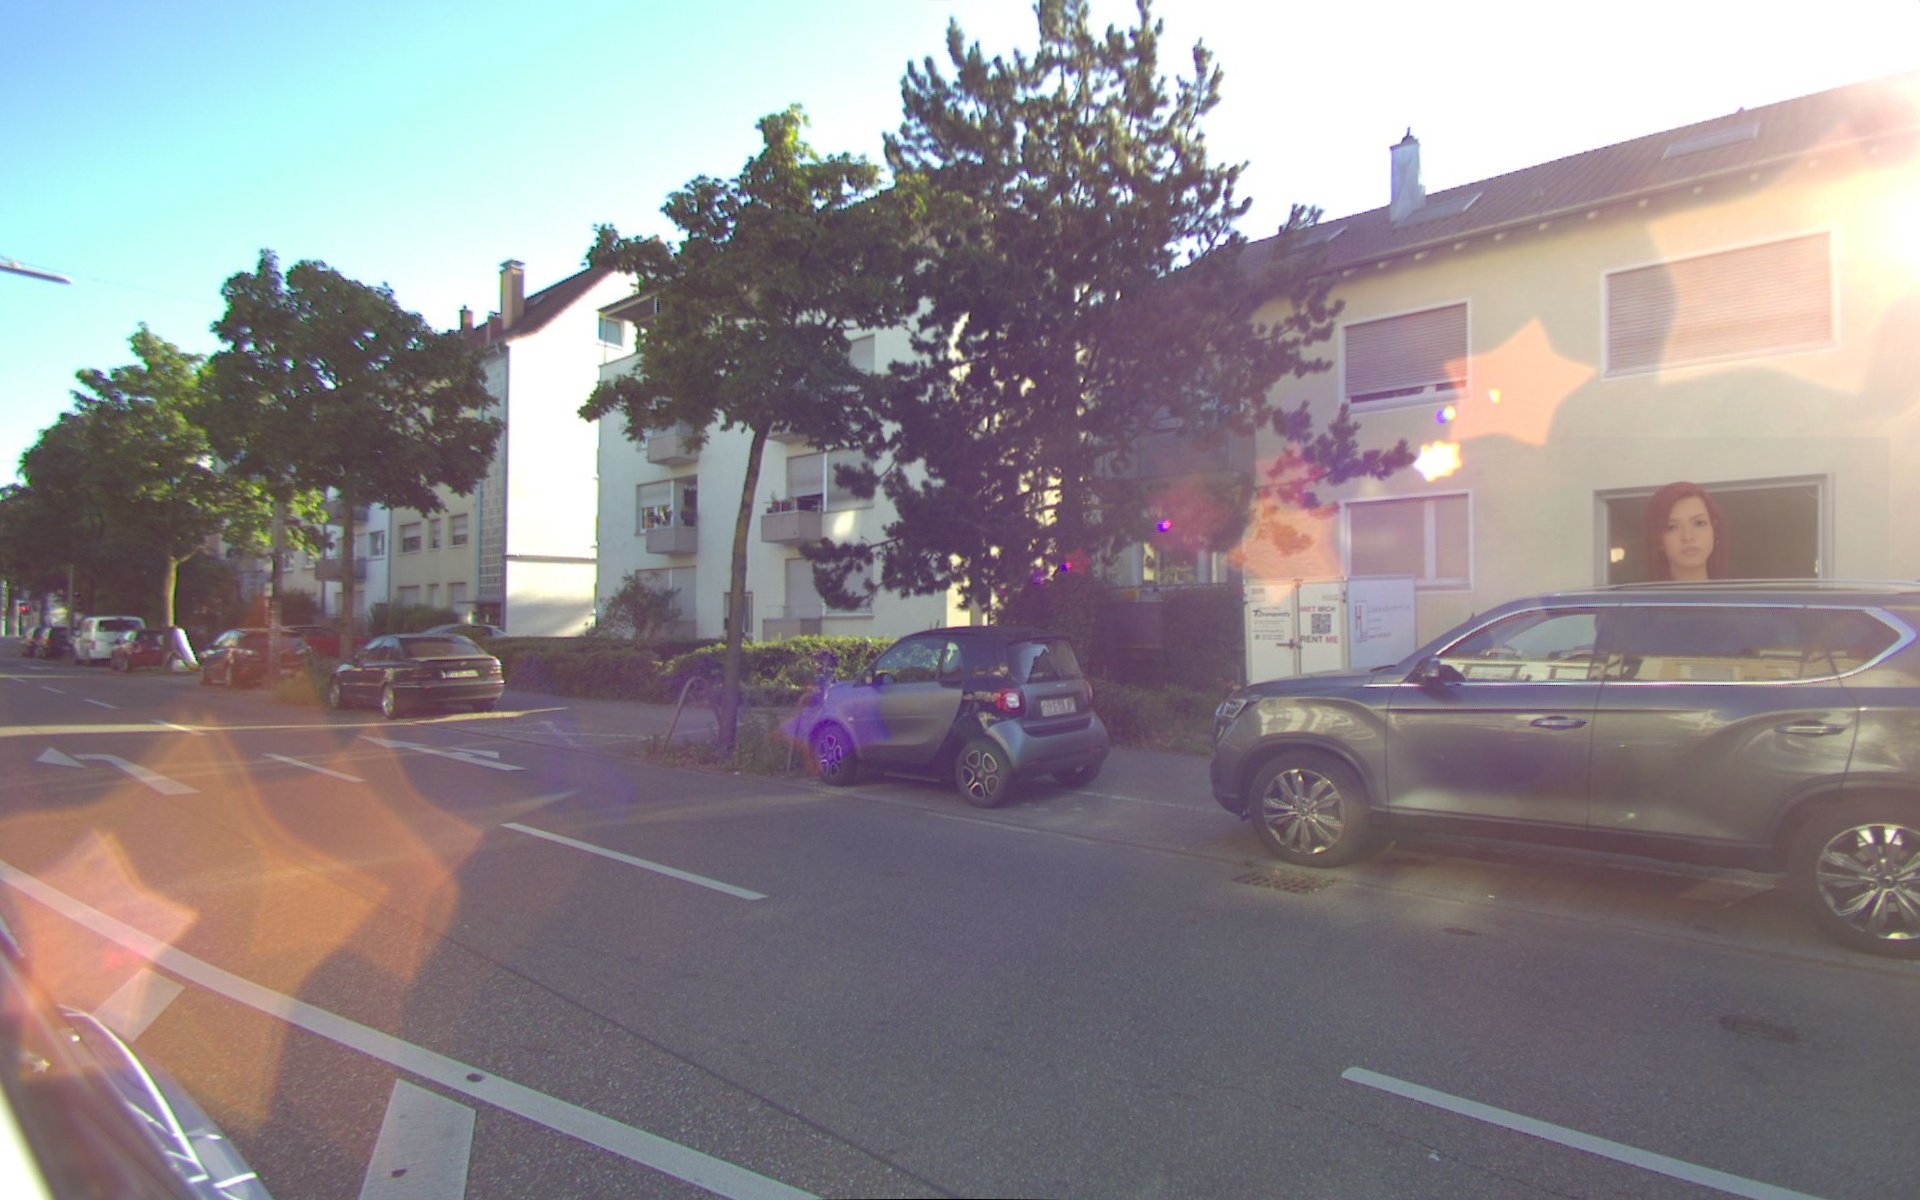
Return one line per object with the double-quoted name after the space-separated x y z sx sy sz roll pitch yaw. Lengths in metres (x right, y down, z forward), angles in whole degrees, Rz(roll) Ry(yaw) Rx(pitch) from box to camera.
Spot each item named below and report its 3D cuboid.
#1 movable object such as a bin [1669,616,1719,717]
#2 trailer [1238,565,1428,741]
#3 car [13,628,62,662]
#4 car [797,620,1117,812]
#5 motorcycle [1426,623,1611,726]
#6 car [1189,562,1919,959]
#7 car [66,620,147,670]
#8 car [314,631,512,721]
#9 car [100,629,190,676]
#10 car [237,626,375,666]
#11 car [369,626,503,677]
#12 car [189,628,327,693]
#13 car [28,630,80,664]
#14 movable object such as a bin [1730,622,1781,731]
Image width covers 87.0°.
10.132 0.904 13.966 0.486 1.369 0.475 -2 -3 42 "movable object such as a bin"
4.925 0.661 13.230 1.551 2.029 2.746 -1 -3 39 "trailer"
-43.967 2.113 48.226 3.682 1.475 1.388 -1 0 43 "car"
-0.072 0.988 9.775 2.747 1.567 1.557 -1 -2 40 "car"
7.991 1.031 14.573 2.257 1.384 0.564 -1 -3 41 "motorcycle"
3.970 0.772 6.142 4.722 1.793 1.868 -1 -2 40 "car"
-32.404 1.674 38.378 4.190 1.823 1.717 -1 -2 41 "car"
-9.829 1.262 18.035 4.441 1.418 1.620 -1 -2 41 "car"
-27.189 1.709 33.749 3.634 1.475 1.717 -1 -2 41 "car"
-27.052 1.869 42.028 1.735 1.416 4.516 -1 0 31 "car"
-16.692 1.612 32.316 1.686 1.535 3.422 -2 -3 42 "car"
-17.633 1.455 25.368 3.997 1.497 1.838 -2 -3 40 "car"
-40.842 2.096 45.580 3.682 1.416 1.388 -1 0 43 "car"
10.642 1.007 13.539 0.486 1.412 0.475 -2 -3 42 "movable object such as a bin"
